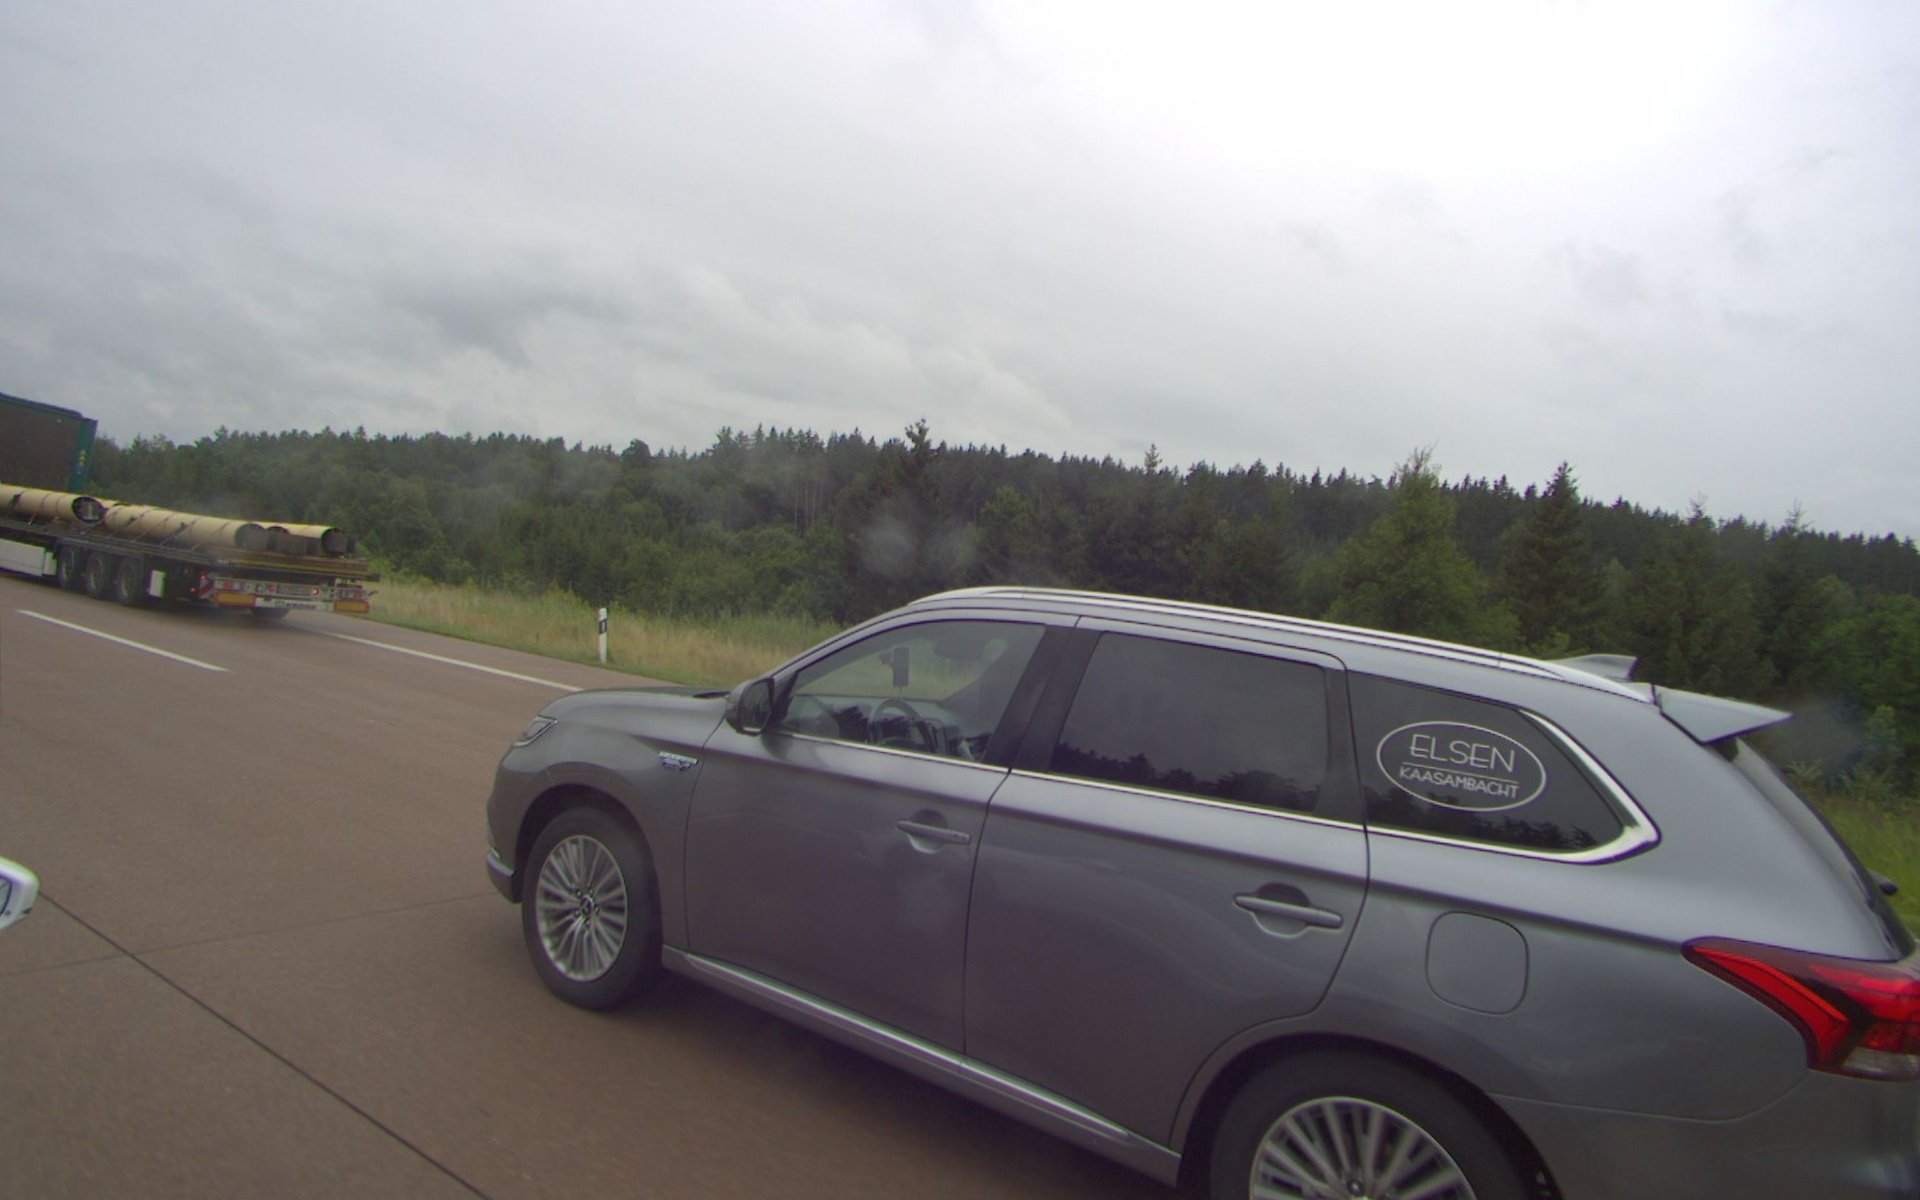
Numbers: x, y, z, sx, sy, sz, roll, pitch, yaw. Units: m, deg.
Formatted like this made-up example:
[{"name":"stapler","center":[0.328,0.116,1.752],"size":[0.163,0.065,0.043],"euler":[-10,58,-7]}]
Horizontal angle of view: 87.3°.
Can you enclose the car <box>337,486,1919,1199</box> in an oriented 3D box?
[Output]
[{"name":"car","center":[0.418,0.647,3.577],"size":[5.724,1.610,1.998],"euler":[5,-3,32]}]

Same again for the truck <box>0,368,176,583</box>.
[{"name":"truck","center":[-21.581,-2.796,23.220],"size":[6.873,4.010,2.903],"euler":[5,-2,31]}]

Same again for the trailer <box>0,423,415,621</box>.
[{"name":"trailer","center":[-15.080,-1.574,19.131],"size":[11.210,2.706,2.887],"euler":[5,-3,32]}]
